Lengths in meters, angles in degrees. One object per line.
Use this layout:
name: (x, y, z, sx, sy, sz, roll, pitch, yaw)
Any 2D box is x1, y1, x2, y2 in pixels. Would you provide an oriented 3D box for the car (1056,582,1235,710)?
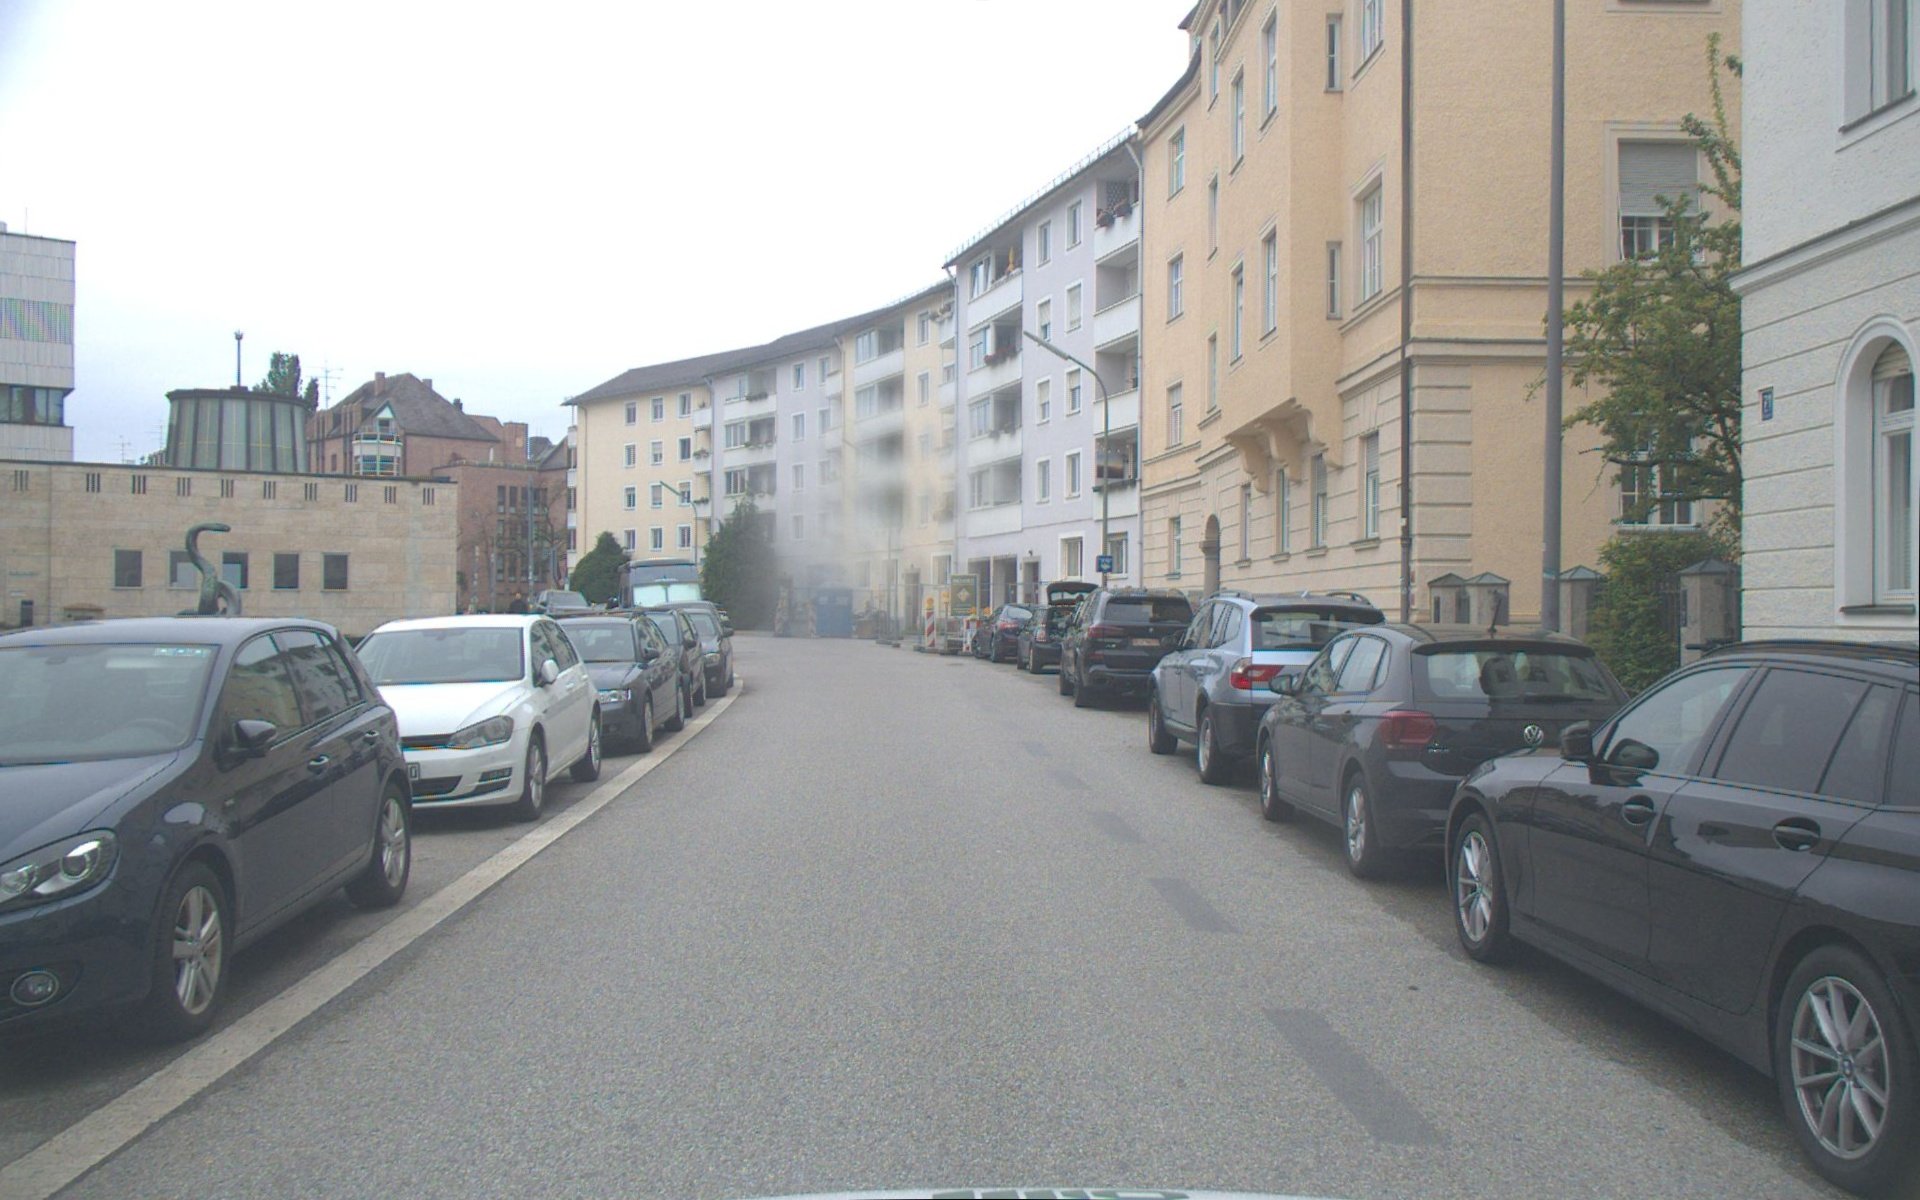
car: (2.780, 0.642, 25.993, 2.126, 1.769, 5.022, 1, 0, -1)

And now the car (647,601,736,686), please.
car: (-5.153, 0.804, 32.004, 1.490, 1.491, 2.883, -2, 0, -6)

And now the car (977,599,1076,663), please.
car: (1.644, 0.744, 42.439, 1.871, 1.503, 4.940, 1, 0, -6)

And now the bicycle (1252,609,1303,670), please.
bicycle: (5.854, 0.710, 30.571, 0.491, 1.067, 2.137, -3, 0, 0)

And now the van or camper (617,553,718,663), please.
van or camper: (-7.723, 0.178, 43.162, 2.257, 2.626, 6.065, 1, 0, -13)

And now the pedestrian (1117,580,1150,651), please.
pedestrian: (4.288, 0.386, 40.928, 0.605, 1.720, 0.919, -3, 0, -2)

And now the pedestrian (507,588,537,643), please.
pedestrian: (-15.331, 0.549, 57.922, 0.833, 1.899, 0.707, 1, 0, -30)

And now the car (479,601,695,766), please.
car: (-3.958, 0.814, 18.194, 1.598, 1.520, 4.272, -2, 0, -4)

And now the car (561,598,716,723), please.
car: (-4.371, 0.770, 22.918, 1.598, 1.520, 3.601, -2, 0, -4)

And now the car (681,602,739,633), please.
car: (-13.359, 0.928, 88.268, 1.811, 1.601, 3.961, 1, -1, -29)

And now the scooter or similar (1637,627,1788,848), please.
scooter or similar: (4.574, 0.805, 10.102, 0.418, 1.252, 1.047, 1, 0, -1)

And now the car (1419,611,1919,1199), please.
car: (3.248, 0.822, 5.767, 1.838, 1.475, 4.676, 1, 0, -2)

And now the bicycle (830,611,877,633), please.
bicycle: (-5.387, 1.138, 83.921, 2.205, 1.088, 0.912, 1, -1, -26)

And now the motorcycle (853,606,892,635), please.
motorcycle: (-3.952, 0.915, 74.645, 0.920, 1.242, 2.487, 1, 0, -25)

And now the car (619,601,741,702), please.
car: (-4.672, 0.802, 28.113, 1.740, 1.491, 4.460, -2, 0, -6)

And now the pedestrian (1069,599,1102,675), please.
pedestrian: (2.609, 0.756, 34.429, 0.616, 1.555, 0.577, 1, 0, -3)

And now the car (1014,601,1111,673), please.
car: (2.195, 0.764, 36.187, 1.599, 1.442, 3.676, 1, 0, -4)

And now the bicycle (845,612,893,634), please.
bicycle: (-4.544, 1.150, 82.647, 2.205, 1.088, 0.912, 1, -1, -26)

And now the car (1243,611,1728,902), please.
car: (3.159, 0.853, 10.874, 1.790, 1.475, 4.083, 1, 0, -1)

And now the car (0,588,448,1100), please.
car: (-3.484, 0.719, 6.929, 1.598, 1.520, 4.098, 1, 0, -4)

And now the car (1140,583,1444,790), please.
car: (2.984, 0.716, 15.856, 1.809, 1.692, 4.495, 1, 0, -3)

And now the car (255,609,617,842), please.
car: (-3.853, 0.823, 12.925, 1.706, 1.447, 4.291, -1, 0, -4)
